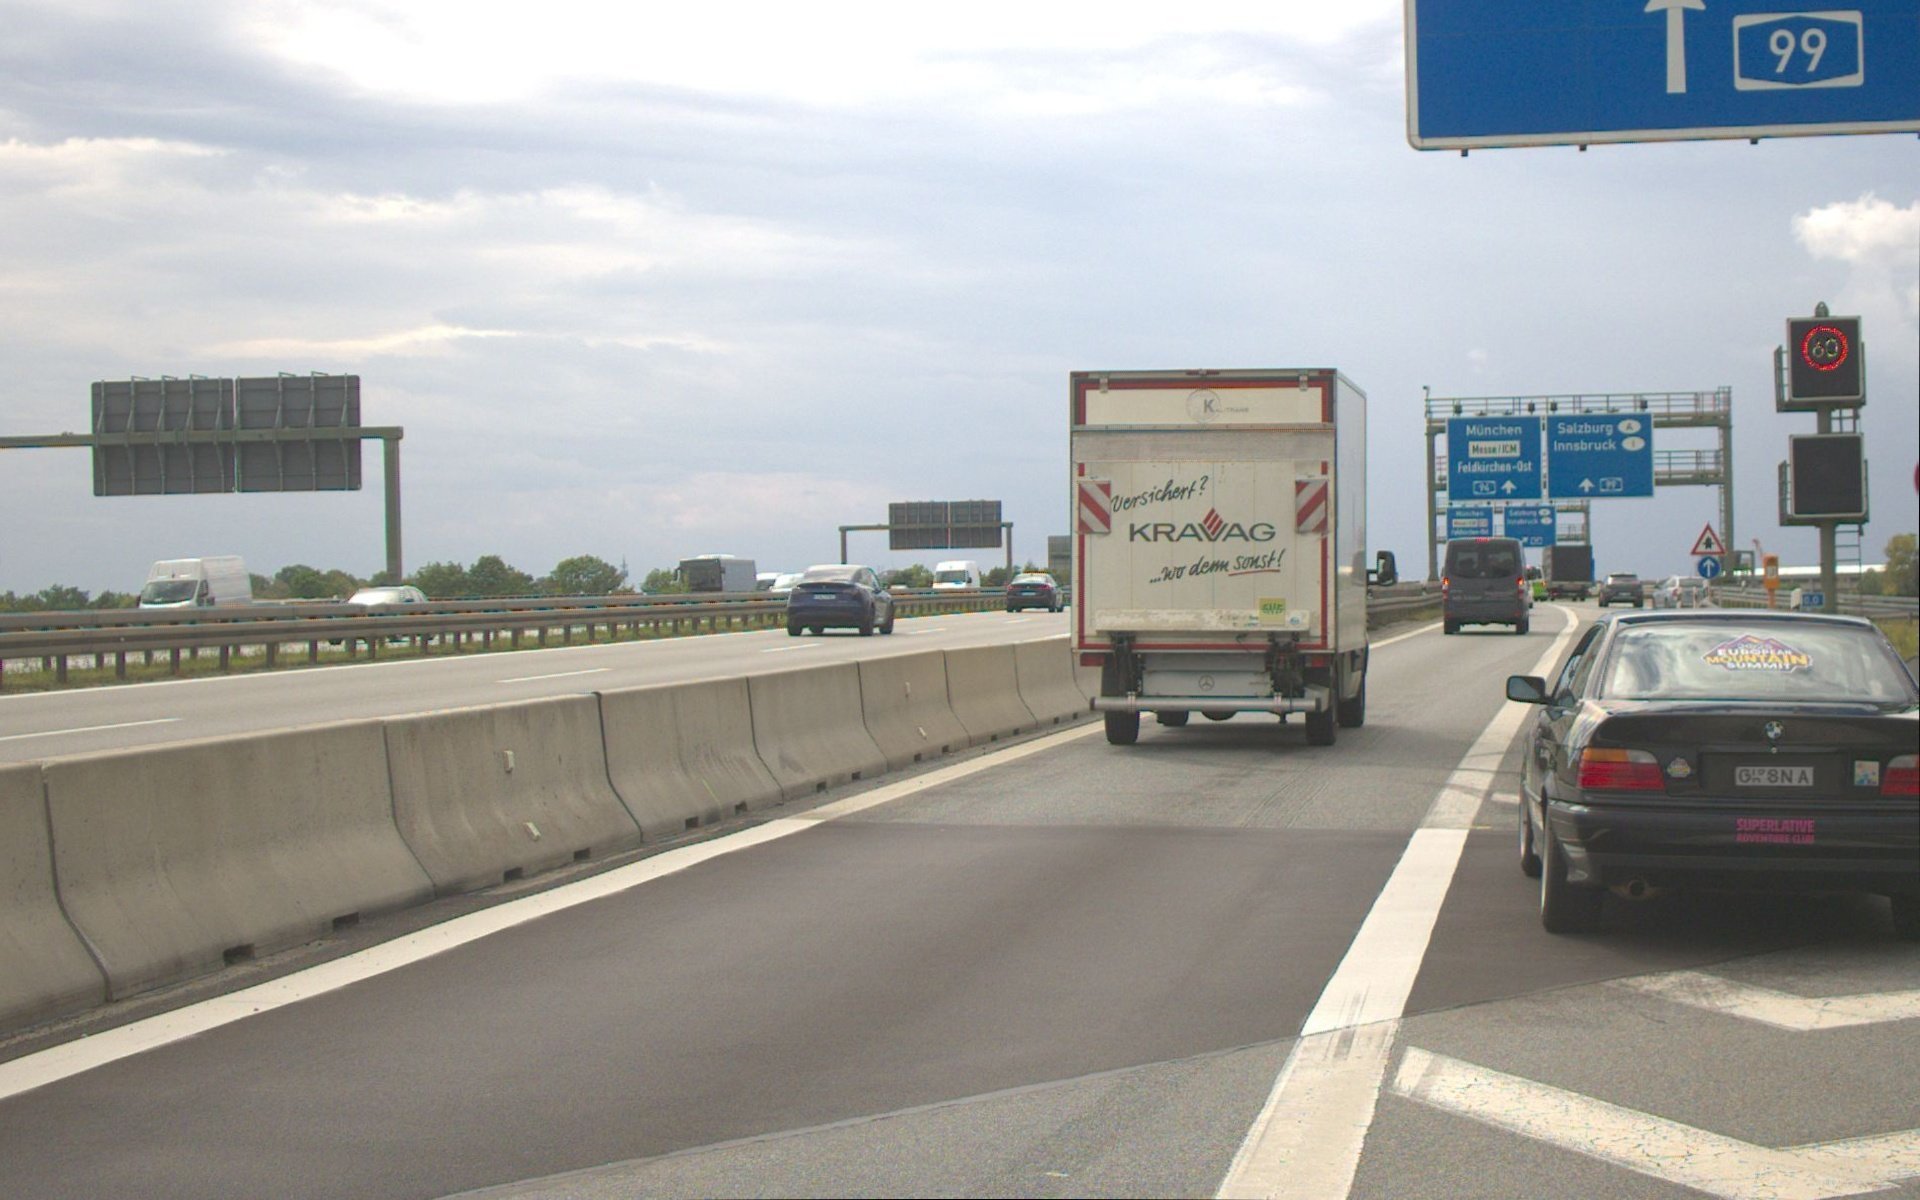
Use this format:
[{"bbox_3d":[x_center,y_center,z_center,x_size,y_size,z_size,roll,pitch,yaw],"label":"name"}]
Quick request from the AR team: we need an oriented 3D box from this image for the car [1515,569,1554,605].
[{"bbox_3d":[24.107,-0.567,144.314,1.586,1.479,3.533,0,0,10],"label":"car"}]

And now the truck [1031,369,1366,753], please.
[{"bbox_3d":[2.288,-0.351,30.897,2.405,3.079,6.368,0,1,9],"label":"truck"}]

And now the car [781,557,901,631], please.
[{"bbox_3d":[-2.692,-0.157,78.806,1.994,1.656,4.382,0,1,8],"label":"car"}]

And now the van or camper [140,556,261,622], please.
[{"bbox_3d":[-25.411,-0.386,115.258,2.187,2.164,5.808,0,1,7],"label":"van or camper"}]

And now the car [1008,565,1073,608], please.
[{"bbox_3d":[2.978,-0.517,126.642,1.994,1.536,3.999,0,1,7],"label":"car"}]

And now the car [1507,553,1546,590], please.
[{"bbox_3d":[31.545,-1.579,191.512,1.994,2.007,3.999,0,1,8],"label":"car"}]

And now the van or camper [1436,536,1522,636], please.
[{"bbox_3d":[12.774,-0.370,84.408,2.000,2.362,6.124,0,1,9],"label":"van or camper"}]

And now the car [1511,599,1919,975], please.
[{"bbox_3d":[3.335,0.703,15.037,1.783,1.373,4.135,0,0,10],"label":"car"}]
